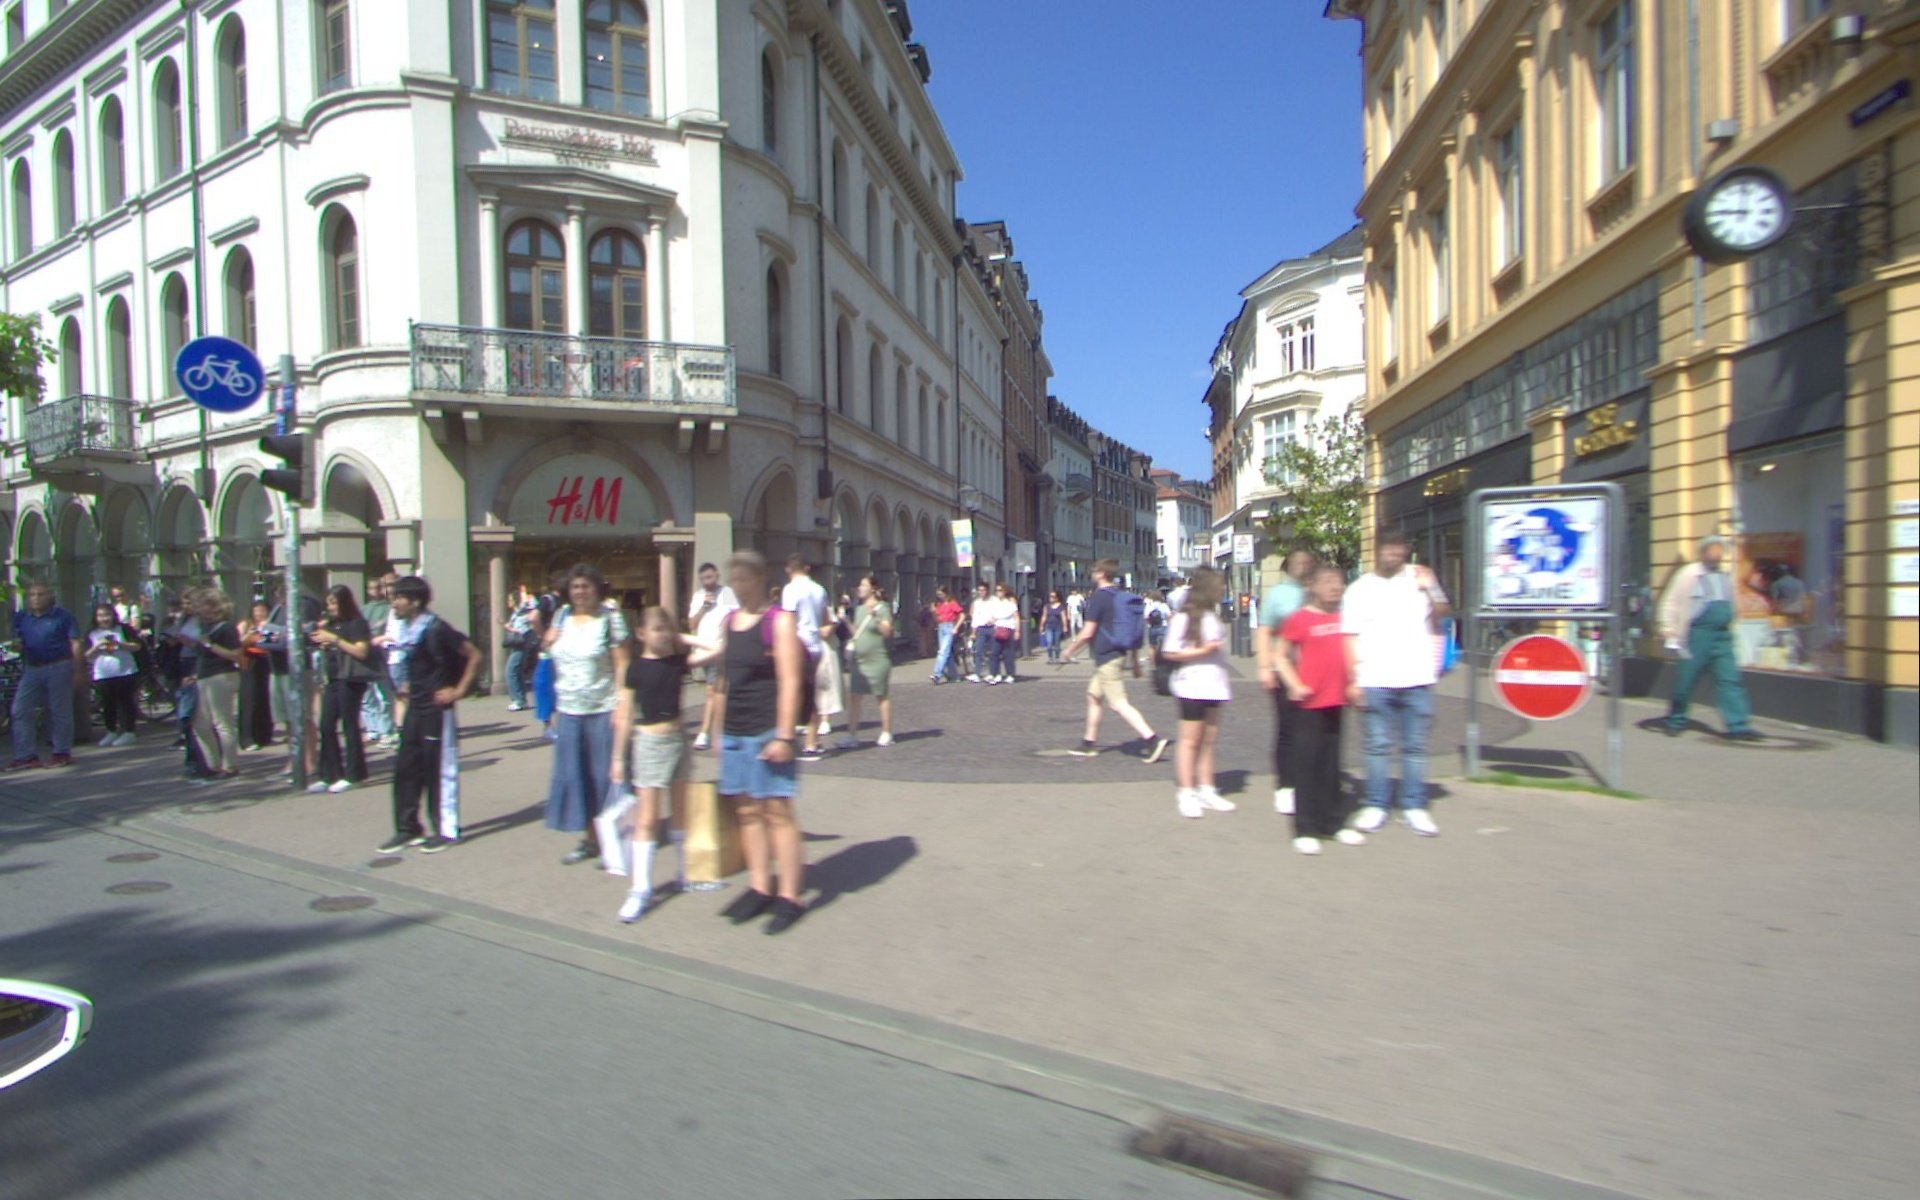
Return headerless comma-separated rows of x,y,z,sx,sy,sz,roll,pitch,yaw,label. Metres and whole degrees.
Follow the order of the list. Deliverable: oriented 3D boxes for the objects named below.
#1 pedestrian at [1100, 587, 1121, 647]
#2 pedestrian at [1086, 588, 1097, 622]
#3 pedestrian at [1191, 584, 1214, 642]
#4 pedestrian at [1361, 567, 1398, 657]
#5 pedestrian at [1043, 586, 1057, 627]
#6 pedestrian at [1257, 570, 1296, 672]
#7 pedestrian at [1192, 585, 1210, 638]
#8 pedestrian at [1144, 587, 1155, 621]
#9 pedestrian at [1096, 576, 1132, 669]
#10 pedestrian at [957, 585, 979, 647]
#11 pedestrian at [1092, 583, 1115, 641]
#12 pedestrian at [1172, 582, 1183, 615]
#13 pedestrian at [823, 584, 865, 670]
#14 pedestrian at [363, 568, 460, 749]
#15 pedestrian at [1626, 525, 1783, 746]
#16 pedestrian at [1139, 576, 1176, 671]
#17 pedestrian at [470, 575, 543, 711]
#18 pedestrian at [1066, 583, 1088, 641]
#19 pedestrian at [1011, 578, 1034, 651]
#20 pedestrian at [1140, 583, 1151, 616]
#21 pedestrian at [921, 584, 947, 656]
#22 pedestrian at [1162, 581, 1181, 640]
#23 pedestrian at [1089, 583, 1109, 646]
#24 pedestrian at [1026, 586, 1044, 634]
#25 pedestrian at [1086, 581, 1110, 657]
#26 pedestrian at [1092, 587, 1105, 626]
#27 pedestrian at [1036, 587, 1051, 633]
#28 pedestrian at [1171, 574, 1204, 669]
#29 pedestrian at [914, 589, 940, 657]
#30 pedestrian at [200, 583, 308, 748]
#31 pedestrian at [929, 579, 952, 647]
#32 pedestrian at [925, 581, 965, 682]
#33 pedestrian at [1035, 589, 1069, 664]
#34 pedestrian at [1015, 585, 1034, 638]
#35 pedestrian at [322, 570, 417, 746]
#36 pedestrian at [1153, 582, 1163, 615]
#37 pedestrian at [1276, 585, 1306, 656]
4.461,0.502,29.681,0.557,1.775,0.659,0,0,6,pedestrian
7.302,0.291,55.696,0.557,1.894,0.659,-1,1,9,pedestrian
7.969,0.423,32.942,0.557,1.894,0.659,-1,1,-3,pedestrian
8.961,0.256,21.392,0.557,1.894,0.659,0,0,6,pedestrian
4.155,0.307,46.247,0.557,1.894,0.659,-1,1,9,pedestrian
5.967,0.390,18.909,0.557,1.894,0.659,0,0,6,pedestrian
8.616,0.417,35.859,0.557,1.894,0.659,-1,1,9,pedestrian
10.440,0.225,55.126,0.557,1.894,0.659,-1,1,9,pedestrian
3.192,0.466,20.788,0.664,1.894,0.542,0,0,2,pedestrian
0.222,0.451,28.365,0.557,1.718,0.659,0,0,6,pedestrian
4.724,0.387,32.945,0.703,1.894,0.740,0,0,6,pedestrian
12.532,-0.081,57.718,0.557,1.894,0.659,-1,1,9,pedestrian
-2.338,0.534,20.151,0.665,1.701,0.611,-1,1,10,pedestrian
-5.769,0.595,10.540,0.668,1.831,0.609,-1,1,30,pedestrian
6.565,0.314,8.880,0.771,1.847,0.808,-2,0,9,pedestrian
4.000,0.470,20.361,0.668,1.894,0.659,0,0,6,pedestrian
-6.152,0.576,13.590,0.668,1.787,0.609,-1,1,30,pedestrian
3.900,0.403,33.300,0.703,1.894,0.740,0,0,6,pedestrian
1.666,0.382,26.643,0.557,1.894,0.659,0,0,6,pedestrian
10.713,-0.037,57.907,0.557,1.894,0.659,-1,1,9,pedestrian
-0.642,0.500,25.121,0.557,1.758,0.659,0,0,6,pedestrian
6.987,0.342,33.023,0.557,1.894,0.659,-1,1,9,pedestrian
4.234,0.435,30.555,0.557,1.894,0.659,0,0,6,pedestrian
3.031,0.406,40.541,0.557,1.893,0.659,-5,0,6,pedestrian
3.458,0.478,25.156,0.557,1.894,0.659,0,0,6,pedestrian
6.852,0.309,49.510,0.615,1.894,0.659,-1,1,9,pedestrian
3.435,0.404,41.191,0.557,1.894,0.659,-1,1,6,pedestrian
4.610,0.440,20.330,0.557,1.894,0.659,0,0,6,pedestrian
-0.801,0.552,24.424,0.557,1.621,0.659,0,0,6,pedestrian
-7.656,0.691,10.884,0.664,1.728,0.611,-1,2,4,pedestrian
-0.560,0.364,28.322,0.557,1.894,0.659,0,0,6,pedestrian
-0.264,0.543,17.527,0.664,1.739,0.542,0,0,2,pedestrian
2.062,0.592,22.465,0.745,1.638,0.659,0,0,6,pedestrian
2.360,0.410,36.609,0.615,1.894,0.659,-1,1,9,pedestrian
-6.382,0.605,10.837,0.668,1.831,0.609,-1,1,30,pedestrian
11.467,-0.059,57.965,0.557,1.894,0.659,-1,1,9,pedestrian
7.910,0.492,23.936,0.557,1.671,0.659,0,0,6,pedestrian
